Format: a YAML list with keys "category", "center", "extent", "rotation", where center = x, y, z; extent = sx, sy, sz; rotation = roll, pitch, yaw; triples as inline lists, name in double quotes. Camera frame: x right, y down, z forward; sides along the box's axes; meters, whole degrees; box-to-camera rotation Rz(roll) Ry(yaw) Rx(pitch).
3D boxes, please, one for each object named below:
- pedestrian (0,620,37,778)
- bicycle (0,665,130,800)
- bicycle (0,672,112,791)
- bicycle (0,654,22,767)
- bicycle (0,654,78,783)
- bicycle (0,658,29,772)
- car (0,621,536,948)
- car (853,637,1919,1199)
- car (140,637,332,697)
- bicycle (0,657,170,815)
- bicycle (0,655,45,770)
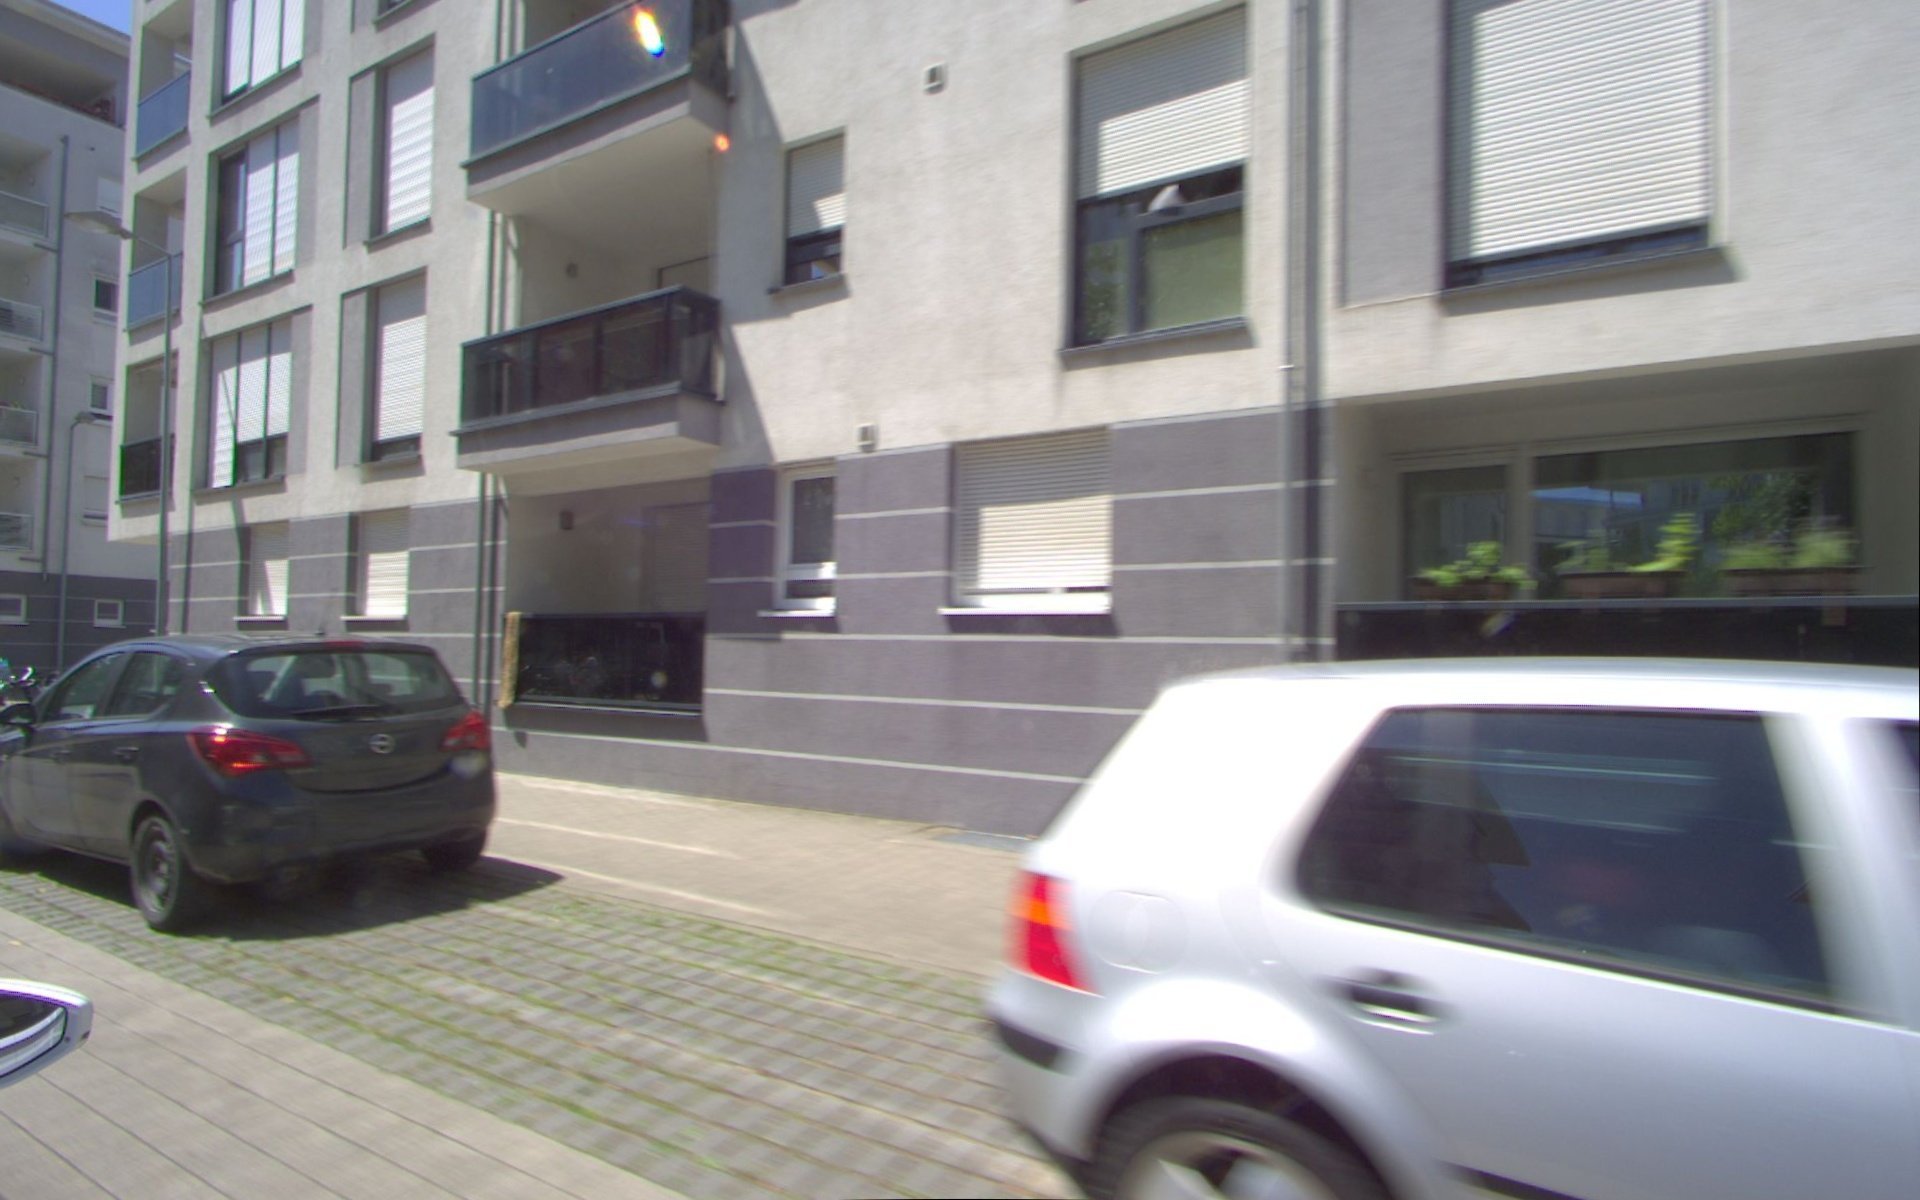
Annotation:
- category: "pedestrian"
  center: [-9.727, 0.949, 9.531]
  extent: [0.676, 1.534, 1.180]
  rotation: [0, -2, 22]
- category: "bicycle"
  center: [-8.501, 1.152, 8.735]
  extent: [0.735, 1.118, 1.786]
  rotation: [0, -2, 28]
- category: "bicycle"
  center: [-9.055, 1.210, 9.139]
  extent: [0.550, 1.048, 1.923]
  rotation: [0, -2, 28]
- category: "bicycle"
  center: [-10.948, 1.155, 10.231]
  extent: [0.631, 1.194, 1.915]
  rotation: [-1, -2, 40]
- category: "bicycle"
  center: [-9.625, 1.141, 9.458]
  extent: [0.453, 1.233, 1.925]
  rotation: [0, -2, 23]
- category: "bicycle"
  center: [-10.494, 1.157, 9.830]
  extent: [0.602, 1.147, 1.915]
  rotation: [-1, -2, 40]
- category: "car"
  center: [-4.812, 0.907, 6.470]
  extent: [4.168, 1.504, 1.736]
  rotation: [-1, -2, 32]
- category: "car"
  center: [2.044, 0.851, 1.968]
  extent: [4.288, 1.524, 1.831]
  rotation: [-1, -2, 32]
- category: "car"
  center: [-20.366, 1.887, 28.333]
  extent: [1.729, 1.488, 3.985]
  rotation: [2, -2, 30]
- category: "bicycle"
  center: [-7.871, 1.108, 8.354]
  extent: [0.704, 1.233, 1.869]
  rotation: [0, -2, 28]
- category: "bicycle"
  center: [-10.119, 1.132, 9.753]
  extent: [0.452, 1.163, 1.839]
  rotation: [0, -2, 13]
